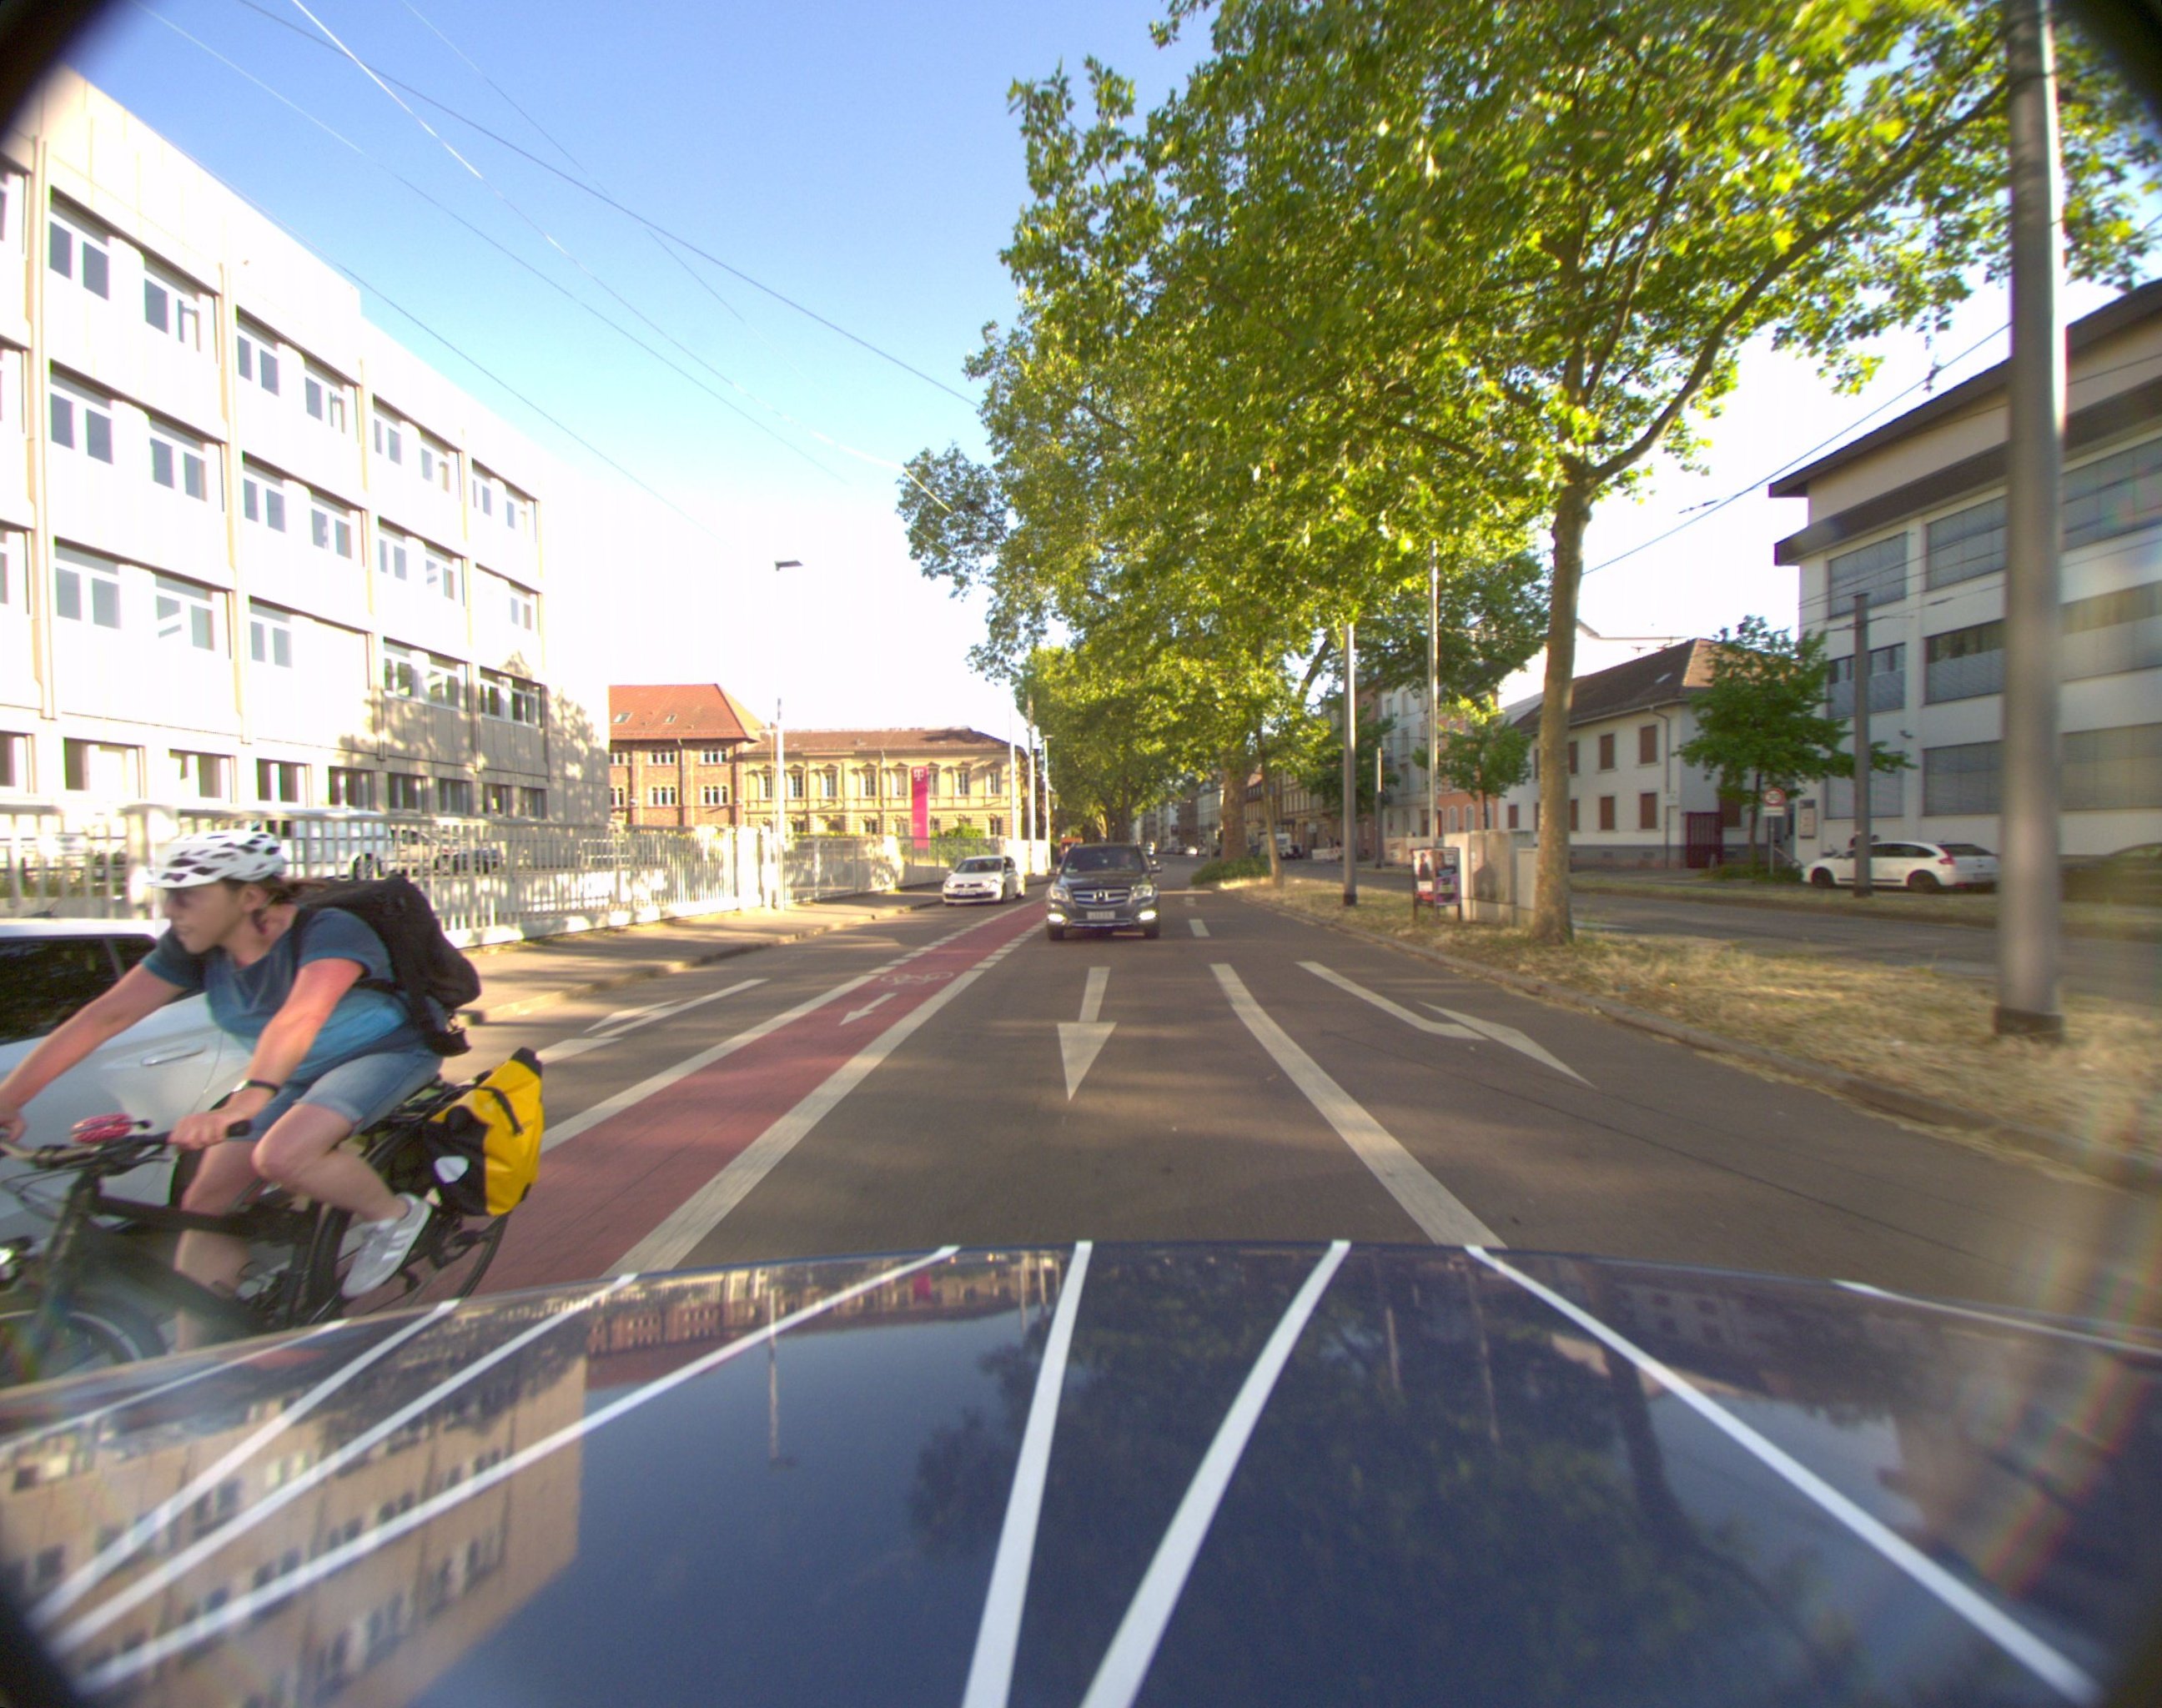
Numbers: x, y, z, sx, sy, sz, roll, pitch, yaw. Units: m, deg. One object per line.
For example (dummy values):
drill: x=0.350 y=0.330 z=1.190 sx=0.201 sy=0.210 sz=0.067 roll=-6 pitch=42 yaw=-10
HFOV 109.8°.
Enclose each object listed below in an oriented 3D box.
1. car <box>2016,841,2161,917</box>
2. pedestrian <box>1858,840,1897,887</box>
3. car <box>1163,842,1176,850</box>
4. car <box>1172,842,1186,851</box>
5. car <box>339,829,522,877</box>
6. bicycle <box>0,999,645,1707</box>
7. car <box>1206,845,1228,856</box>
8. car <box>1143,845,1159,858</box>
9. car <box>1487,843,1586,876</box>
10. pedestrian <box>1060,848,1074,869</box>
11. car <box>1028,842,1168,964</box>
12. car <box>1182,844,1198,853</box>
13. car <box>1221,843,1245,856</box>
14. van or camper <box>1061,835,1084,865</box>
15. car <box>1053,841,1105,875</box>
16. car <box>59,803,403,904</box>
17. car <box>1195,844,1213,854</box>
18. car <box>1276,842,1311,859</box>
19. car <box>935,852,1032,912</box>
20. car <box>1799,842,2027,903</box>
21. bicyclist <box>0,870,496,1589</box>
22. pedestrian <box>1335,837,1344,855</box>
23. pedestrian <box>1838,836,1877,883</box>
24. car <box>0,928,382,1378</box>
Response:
car: x=23.778 y=0.529 z=16.207 sx=2.087 sy=1.493 sz=4.455 roll=-3 pitch=1 yaw=-3
pedestrian: x=26.602 y=0.309 z=25.399 sx=0.537 sy=1.519 sz=0.711 roll=-1 pitch=1 yaw=-1
car: x=19.461 y=-1.721 z=166.513 sx=2.087 sy=1.531 sz=4.118 roll=-3 pitch=1 yaw=-3
car: x=19.467 y=-1.469 z=151.165 sx=2.087 sy=1.531 sz=4.007 roll=-3 pitch=1 yaw=-3
car: x=-22.608 y=-0.033 z=26.547 sx=4.574 sy=1.572 sz=1.999 roll=-1 pitch=1 yaw=-1
bicycle: x=-2.241 y=1.178 z=1.980 sx=0.764 sy=1.138 sz=2.307 roll=0 pitch=1 yaw=3
car: x=20.740 y=-0.606 z=116.066 sx=2.087 sy=1.531 sz=5.103 roll=-3 pitch=1 yaw=-3
car: x=10.332 y=-0.335 z=112.741 sx=1.999 sy=1.762 sz=3.999 roll=-2 pitch=1 yaw=0
car: x=23.065 y=0.223 z=38.748 sx=2.087 sy=1.462 sz=4.577 roll=-3 pitch=1 yaw=-3
pedestrian: x=-0.955 y=0.294 z=52.903 sx=0.899 sy=1.464 sz=0.810 roll=-1 pitch=1 yaw=1
car: x=0.399 y=0.664 z=13.086 sx=1.908 sy=1.635 sz=4.517 roll=-3 pitch=1 yaw=4
car: x=20.212 y=-1.073 z=140.877 sx=2.087 sy=1.531 sz=4.254 roll=-3 pitch=1 yaw=-3
car: x=20.572 y=-0.608 z=102.959 sx=2.087 sy=1.531 sz=4.514 roll=-3 pitch=1 yaw=-3
van or camper: x=-0.743 y=-0.369 z=70.162 sx=1.998 sy=2.578 sz=5.625 roll=-2 pitch=1 yaw=0
car: x=-0.026 y=0.161 z=41.172 sx=1.791 sy=1.634 sz=4.304 roll=-3 pitch=1 yaw=13
car: x=-17.767 y=-0.039 z=16.377 sx=1.999 sy=1.832 sz=4.784 roll=-1 pitch=1 yaw=0
car: x=20.218 y=-0.802 z=125.005 sx=2.087 sy=1.531 sz=4.037 roll=-3 pitch=1 yaw=-3
car: x=22.337 y=-0.361 z=80.058 sx=2.087 sy=1.664 sz=4.531 roll=-3 pitch=1 yaw=-3
car: x=-2.841 y=0.768 z=23.168 sx=1.792 sy=1.494 sz=4.303 roll=-3 pitch=1 yaw=8
car: x=23.665 y=0.452 z=21.877 sx=2.087 sy=1.481 sz=3.995 roll=-3 pitch=1 yaw=-3
bicyclist: x=-2.250 y=0.778 z=1.956 sx=0.727 sy=1.414 sz=0.859 roll=-2 pitch=1 yaw=3
pedestrian: x=25.842 y=-0.795 z=75.925 sx=0.561 sy=1.799 sz=0.705 roll=-1 pitch=1 yaw=-3
pedestrian: x=25.846 y=0.183 z=25.288 sx=0.537 sy=1.519 sz=0.711 roll=-1 pitch=1 yaw=-7
car: x=-4.568 y=1.125 z=1.929 sx=1.705 sy=1.381 sz=4.074 roll=-2 pitch=1 yaw=1
